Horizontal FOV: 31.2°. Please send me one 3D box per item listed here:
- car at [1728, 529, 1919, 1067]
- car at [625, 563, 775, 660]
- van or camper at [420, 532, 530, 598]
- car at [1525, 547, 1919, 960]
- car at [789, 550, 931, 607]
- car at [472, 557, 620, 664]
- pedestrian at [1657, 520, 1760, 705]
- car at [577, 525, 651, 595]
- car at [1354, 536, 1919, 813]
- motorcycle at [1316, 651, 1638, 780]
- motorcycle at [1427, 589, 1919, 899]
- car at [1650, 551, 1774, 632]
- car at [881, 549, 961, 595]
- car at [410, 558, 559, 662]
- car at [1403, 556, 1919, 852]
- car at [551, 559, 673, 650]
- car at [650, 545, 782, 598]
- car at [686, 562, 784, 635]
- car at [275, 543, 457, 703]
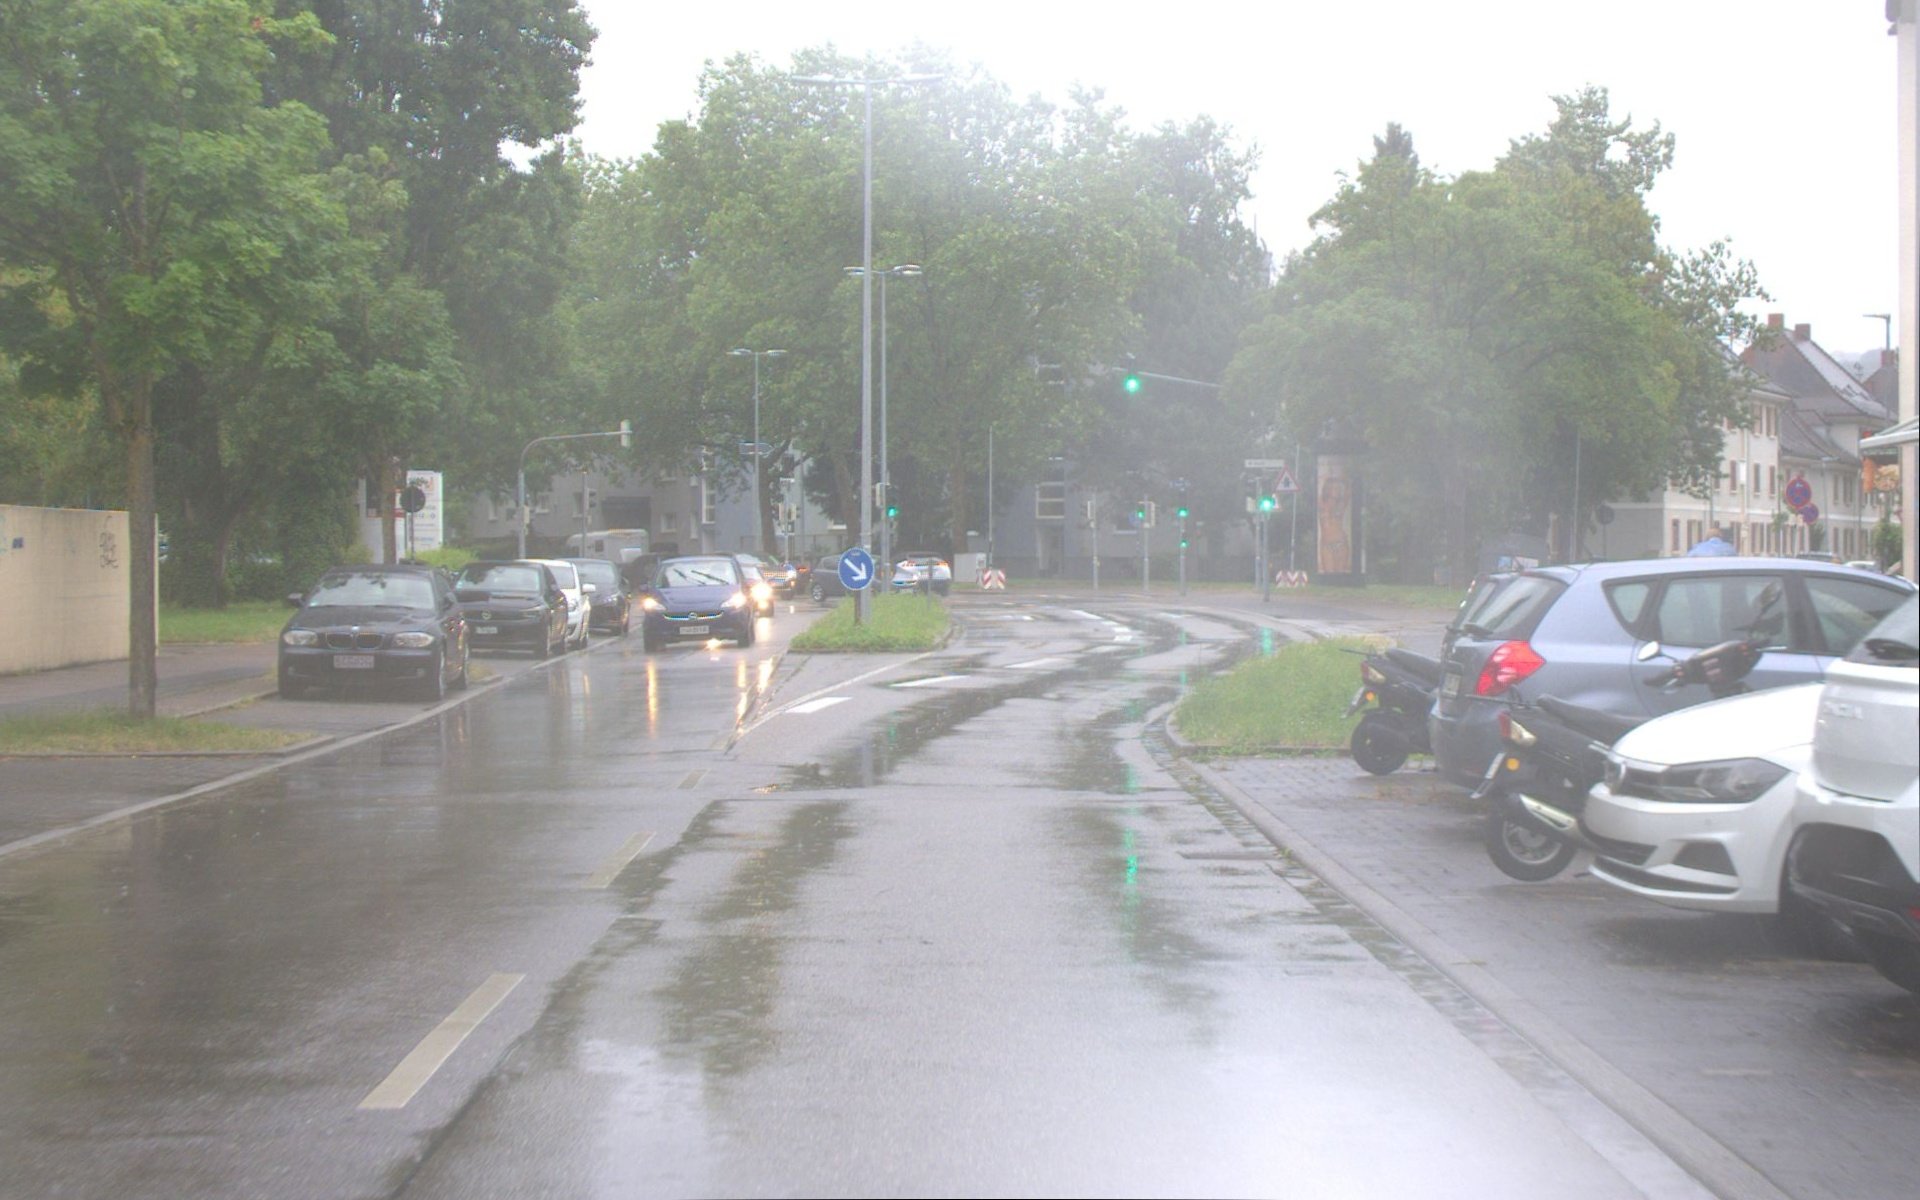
[{"bbox_3d":[4.670,0.587,10.904,3.986,1.547,1.905,1,0,-2],"label":"car"},{"bbox_3d":[-4.149,0.163,55.434,1.993,1.480,4.000,1,0,1],"label":"car"},{"bbox_3d":[-15.013,-1.084,106.621,1.995,2.007,3.997,0,1,15],"label":"van or camper"},{"bbox_3d":[4.403,0.568,13.454,3.986,1.485,1.862,1,0,-3],"label":"car"},{"bbox_3d":[-3.064,-0.661,104.890,3.994,1.683,1.743,1,0,31],"label":"car"},{"bbox_3d":[-6.970,0.161,58.259,1.927,1.725,4.000,1,0,1],"label":"car"},{"bbox_3d":[8.303,0.133,38.105,1.011,2.007,0.951,1,0,17],"label":"pedestrian"},{"bbox_3d":[-16.397,-1.896,162.773,2.219,3.226,4.671,1,0,-22],"label":"car"},{"bbox_3d":[4.394,0.423,20.648,3.988,1.547,1.745,1,0,6],"label":"car"},{"bbox_3d":[3.415,0.760,22.860,2.073,0.790,0.710,1,1,6],"label":"motorcycle"},{"bbox_3d":[3.377,0.629,15.357,2.398,1.319,0.920,1,0,-5],"label":"motorcycle"},{"bbox_3d":[16.546,-0.185,75.543,1.996,1.711,3.995,1,0,22],"label":"car"},{"bbox_3d":[-1.329,-0.958,115.204,1.849,1.519,4.001,0,1,-13],"label":"car"},{"bbox_3d":[-7.140,0.119,51.942,1.928,1.479,4.001,-1,1,-4],"label":"car"},{"bbox_3d":[4.476,0.528,18.239,3.987,1.456,1.935,1,0,0],"label":"car"},{"bbox_3d":[-6.900,0.075,68.536,1.927,1.725,4.000,1,0,1],"label":"car"},{"bbox_3d":[-7.948,-0.933,111.866,3.993,1.683,1.743,1,0,29],"label":"car"},{"bbox_3d":[-5.444,-0.050,83.480,1.927,1.686,4.000,1,0,2],"label":"car"},{"bbox_3d":[-6.363,0.206,37.143,1.775,1.524,4.001,1,2,-8],"label":"car"}]
